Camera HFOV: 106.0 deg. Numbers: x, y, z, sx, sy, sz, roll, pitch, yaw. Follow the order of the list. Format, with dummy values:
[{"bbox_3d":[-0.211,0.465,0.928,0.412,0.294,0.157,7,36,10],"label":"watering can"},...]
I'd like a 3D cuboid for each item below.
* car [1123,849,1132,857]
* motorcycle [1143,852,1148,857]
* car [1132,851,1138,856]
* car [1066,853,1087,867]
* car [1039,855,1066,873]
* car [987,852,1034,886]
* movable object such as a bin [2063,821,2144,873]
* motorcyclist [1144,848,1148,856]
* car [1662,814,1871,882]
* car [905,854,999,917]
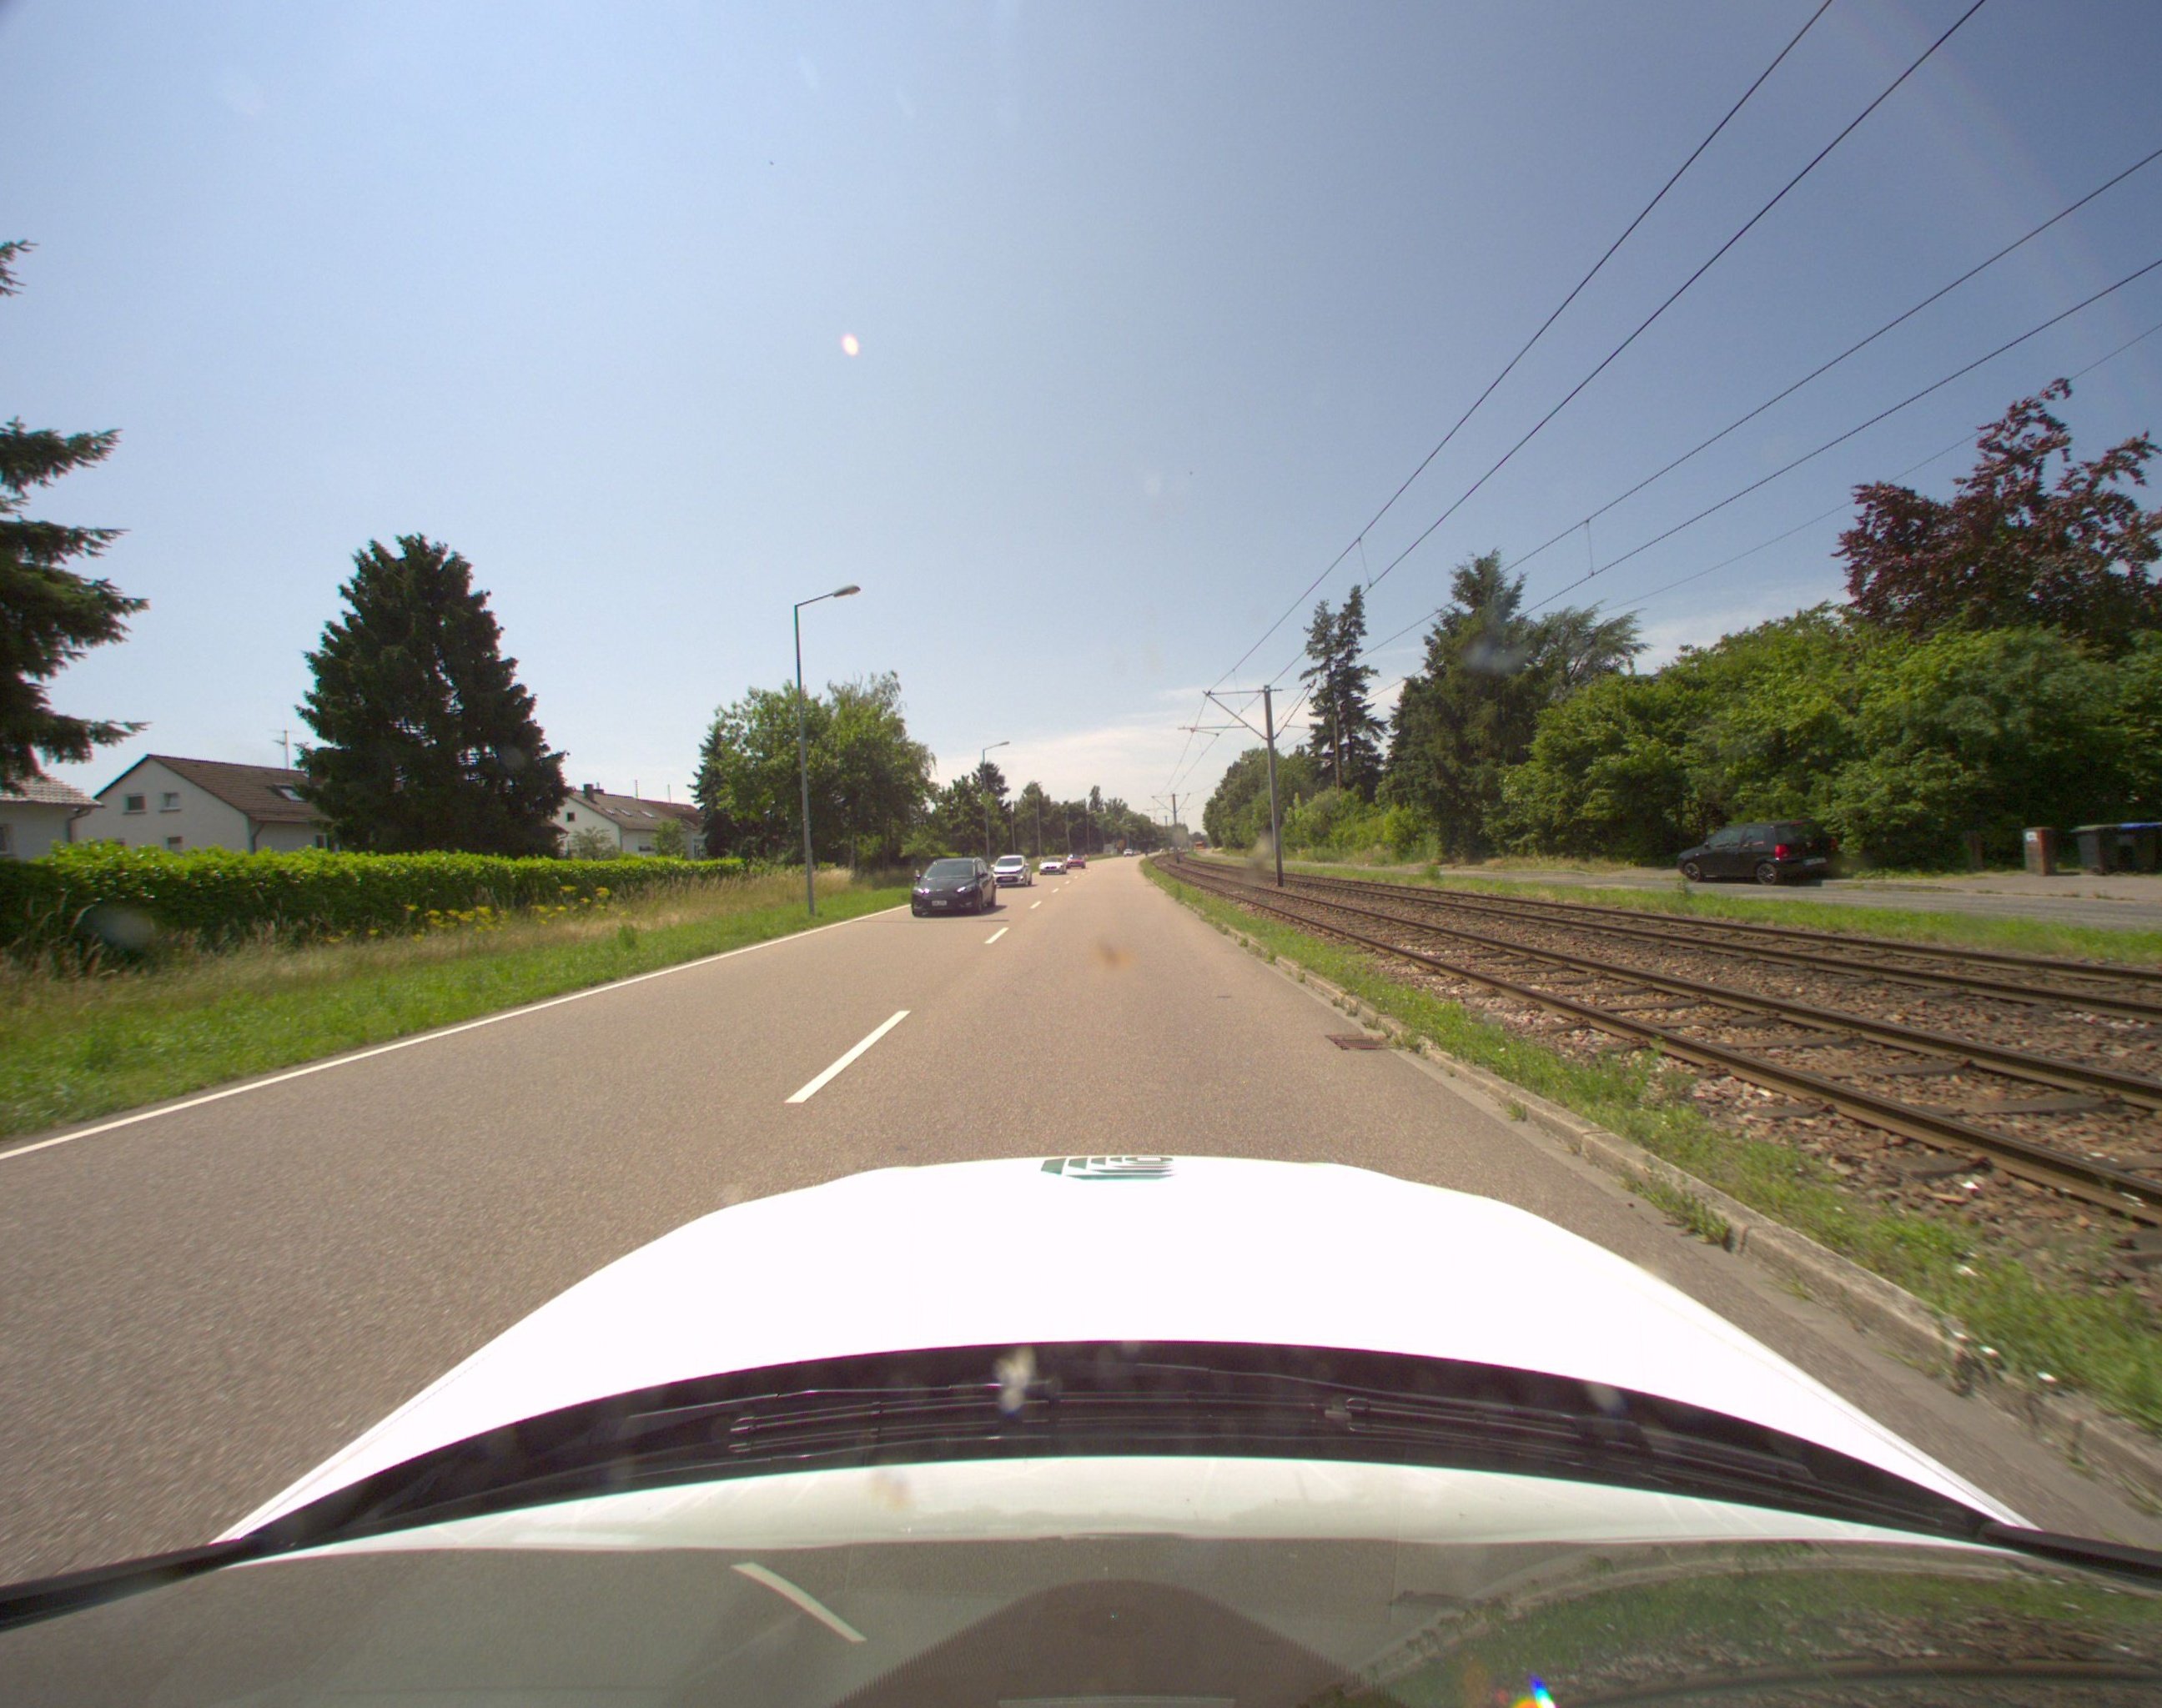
[{"bbox_3d":[11.095,-0.278,194.086,1.926,1.796,4.718,-2,0,5],"label":"car"},{"bbox_3d":[15.965,0.099,201.334,0.965,1.117,2.737,-2,0,6],"label":"motorcycle"},{"bbox_3d":[15.708,-0.098,236.221,1.809,1.493,4.369,-2,0,5],"label":"car"},{"bbox_3d":[-0.428,0.559,78.946,1.742,1.301,4.256,-2,0,2],"label":"car"},{"bbox_3d":[-2.054,0.713,60.417,1.676,1.249,3.911,-2,0,2],"label":"car"},{"bbox_3d":[-3.336,0.700,39.092,1.740,1.503,3.709,-2,0,2],"label":"car"},{"bbox_3d":[19.310,-0.133,15.394,0.721,0.937,0.621,-2,0,1],"label":"movable object such as a bin"},{"bbox_3d":[15.952,-0.408,201.305,0.887,1.905,1.017,-2,0,6],"label":"motorcyclist"},{"bbox_3d":[16.903,-0.132,20.391,1.907,1.470,4.002,-2,0,2],"label":"car"},{"bbox_3d":[-3.423,0.778,22.444,1.694,1.491,4.442,-2,0,2],"label":"car"}]
